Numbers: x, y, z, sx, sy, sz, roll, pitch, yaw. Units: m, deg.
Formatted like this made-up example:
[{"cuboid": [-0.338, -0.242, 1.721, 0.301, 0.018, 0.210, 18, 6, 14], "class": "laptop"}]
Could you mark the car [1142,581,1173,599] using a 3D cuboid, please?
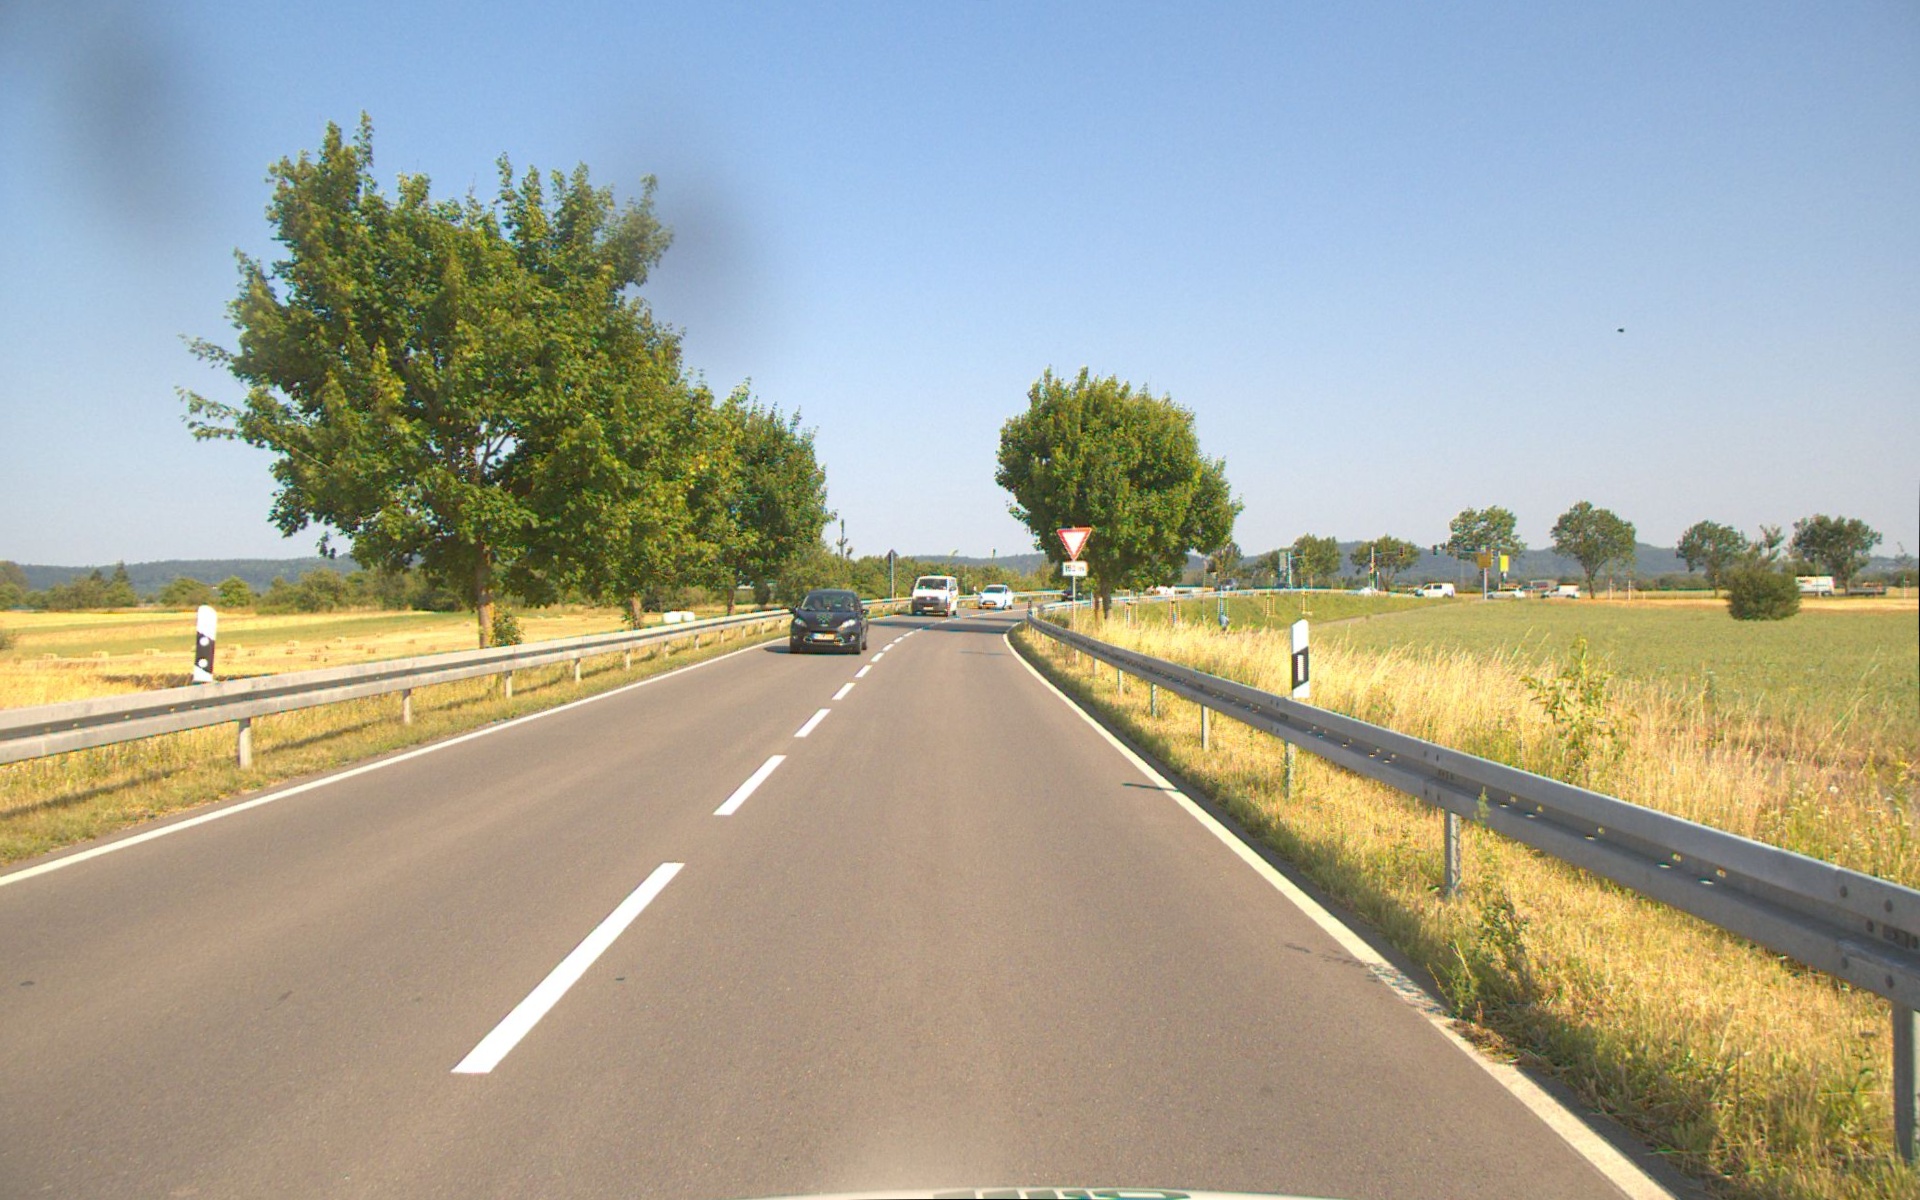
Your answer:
[{"cuboid": [18.072, -0.922, 151.217, 1.952, 1.559, 4.594, 1, 1, 17], "class": "car"}]

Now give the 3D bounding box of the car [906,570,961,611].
[{"cuboid": [-1.292, -0.469, 81.767, 1.951, 1.917, 4.595, 1, 0, 9], "class": "car"}]

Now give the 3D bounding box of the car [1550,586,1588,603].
[{"cuboid": [72.985, -0.655, 198.163, 3.913, 2.049, 1.996, 1, -1, 30], "class": "car"}]

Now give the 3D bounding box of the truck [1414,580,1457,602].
[{"cuboid": [58.765, -1.142, 204.375, 4.948, 2.573, 1.999, 1, -1, 23], "class": "truck"}]

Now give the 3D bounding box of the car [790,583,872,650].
[{"cuboid": [-3.034, 0.362, 39.512, 1.610, 1.497, 3.807, 1, 0, 0], "class": "car"}]

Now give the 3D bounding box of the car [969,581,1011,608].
[{"cuboid": [1.872, -0.336, 101.271, 1.861, 1.559, 4.595, 1, 0, 10], "class": "car"}]

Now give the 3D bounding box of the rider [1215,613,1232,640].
[{"cuboid": [15.216, 1.514, 95.555, 0.596, 1.554, 1.826, 1, -1, 21], "class": "rider"}]

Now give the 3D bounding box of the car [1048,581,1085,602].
[{"cuboid": [8.152, -0.657, 126.163, 1.951, 1.559, 4.595, 1, 1, 15], "class": "car"}]

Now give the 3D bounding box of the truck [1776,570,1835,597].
[{"cuboid": [92.234, -1.795, 180.356, 5.479, 2.742, 3.286, 1, -1, 32], "class": "truck"}]

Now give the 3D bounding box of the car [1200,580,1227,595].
[{"cuboid": [26.095, -1.282, 170.209, 1.952, 1.559, 4.593, 1, 1, 19], "class": "car"}]
